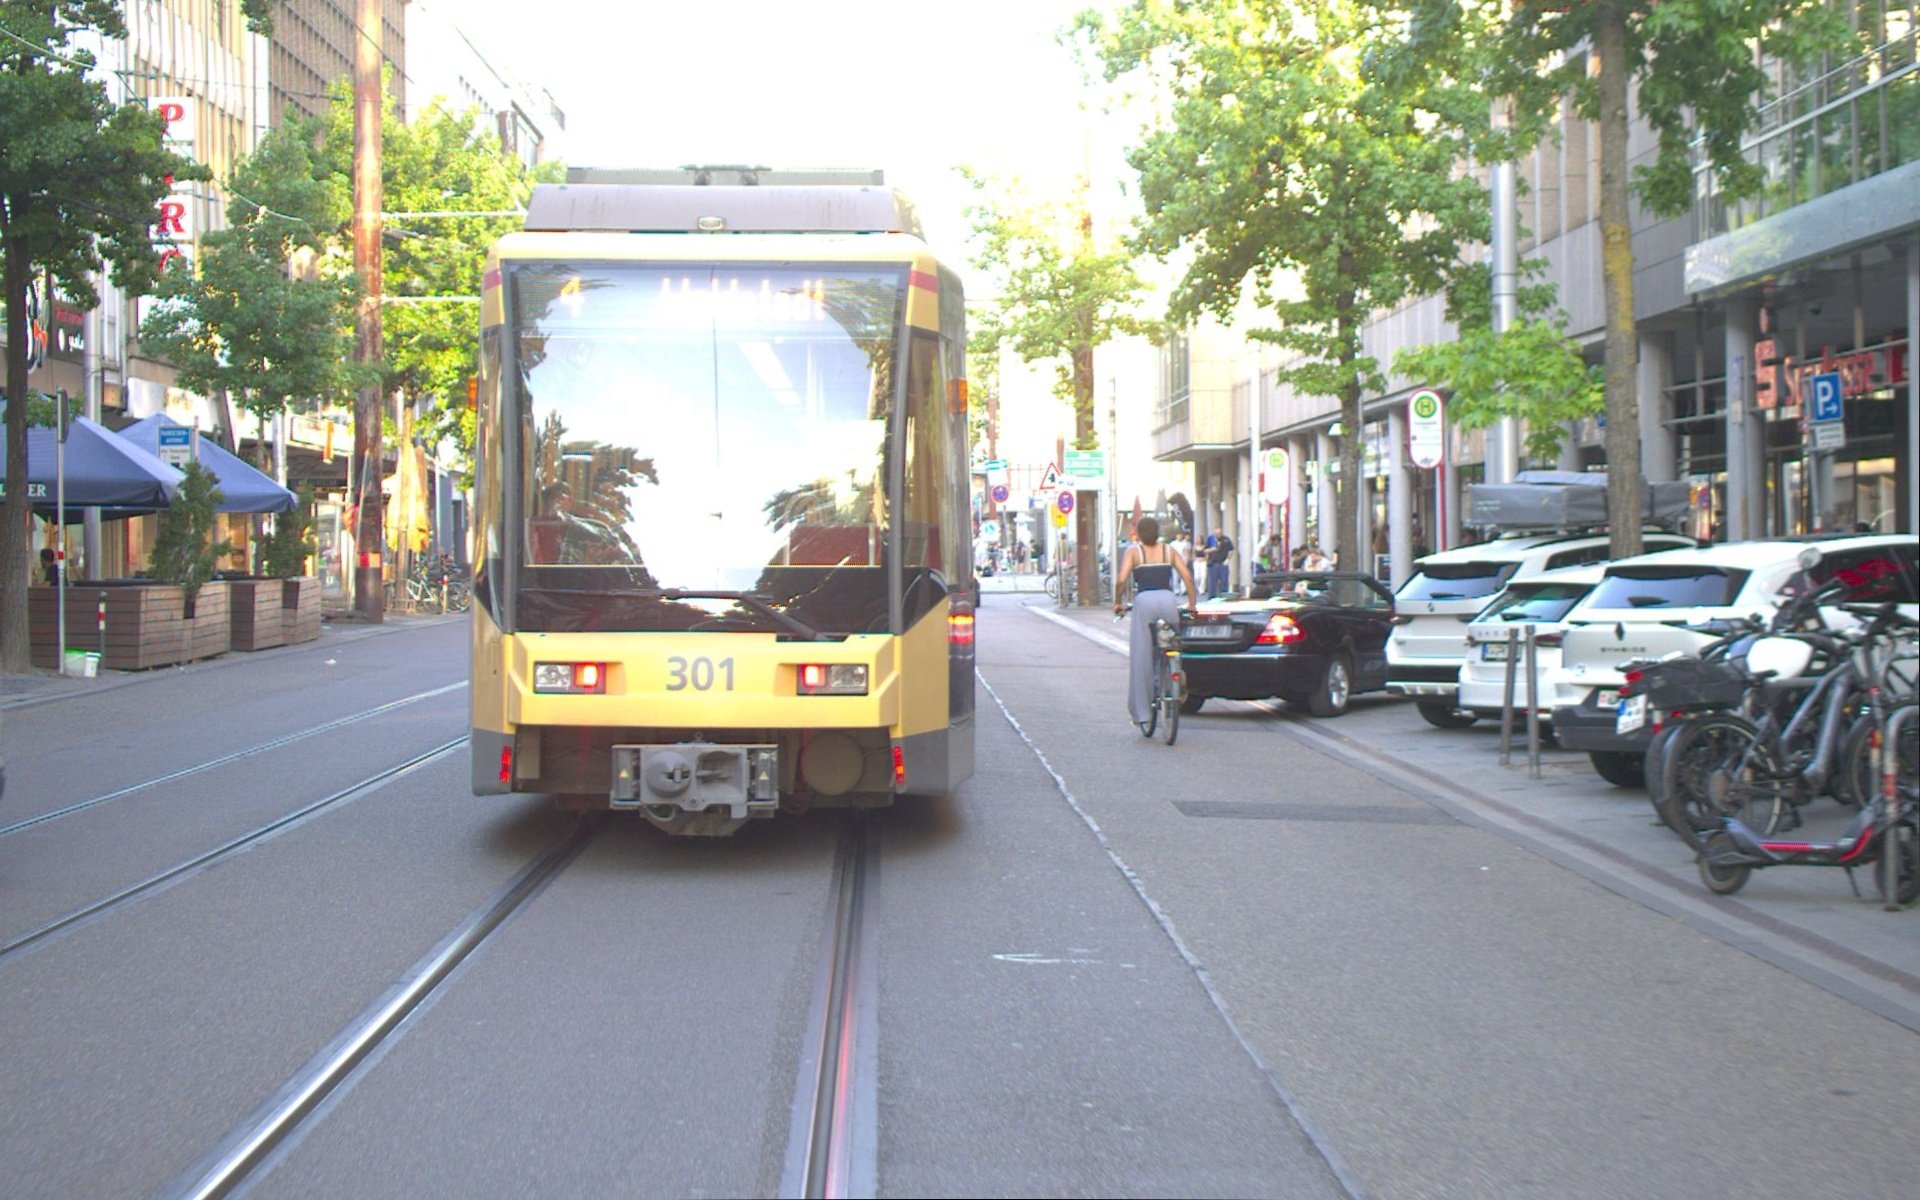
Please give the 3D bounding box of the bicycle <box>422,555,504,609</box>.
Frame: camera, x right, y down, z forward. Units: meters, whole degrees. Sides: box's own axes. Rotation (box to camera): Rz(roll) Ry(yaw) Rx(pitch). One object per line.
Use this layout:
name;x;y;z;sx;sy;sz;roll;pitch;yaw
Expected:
bicycle;-11.053;-0.392;76.479;1.733;1.122;0.613;3;0;-8

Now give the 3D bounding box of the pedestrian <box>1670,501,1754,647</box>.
pedestrian;9.621;-0.346;44.007;0.832;1.830;0.944;-1;2;-1

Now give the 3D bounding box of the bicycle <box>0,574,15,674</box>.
bicycle;-11.436;0.250;39.273;0.811;1.099;2.166;0;2;-27

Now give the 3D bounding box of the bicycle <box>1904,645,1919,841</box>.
bicycle;5.859;0.696;18.396;1.591;1.030;0.553;-6;3;-31

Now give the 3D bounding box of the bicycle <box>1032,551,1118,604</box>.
bicycle;3.239;-0.620;96.834;2.328;1.466;0.791;1;0;-5

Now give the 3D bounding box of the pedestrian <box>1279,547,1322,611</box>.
pedestrian;7.251;-0.458;73.235;0.806;1.323;0.626;-2;2;0

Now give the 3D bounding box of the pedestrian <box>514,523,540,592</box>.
pedestrian;-10.744;-1.056;85.316;0.551;1.681;0.576;2;0;-5

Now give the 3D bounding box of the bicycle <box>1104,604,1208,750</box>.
bicycle;1.532;0.586;27.194;0.656;1.057;2.057;1;1;-1

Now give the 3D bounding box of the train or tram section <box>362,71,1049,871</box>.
train or tram section;-1.305;-0.617;20.334;3.016;3.511;10.371;0;1;-2

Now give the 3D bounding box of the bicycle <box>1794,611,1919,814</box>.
bicycle;5.889;0.629;20.332;1.744;1.113;0.918;-2;1;-35

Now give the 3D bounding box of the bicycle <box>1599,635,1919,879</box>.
bicycle;4.191;0.771;17.519;1.744;1.113;0.807;-2;2;-33

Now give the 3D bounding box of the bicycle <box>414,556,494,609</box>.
bicycle;-11.619;-0.404;78.903;1.733;1.122;0.563;3;0;-5

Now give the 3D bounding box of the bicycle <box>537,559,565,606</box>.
bicycle;-10.102;-0.429;84.969;0.611;1.122;2.252;3;0;-7

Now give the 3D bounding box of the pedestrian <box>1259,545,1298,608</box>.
pedestrian;6.956;-0.522;75.037;0.739;1.323;0.720;-2;2;0

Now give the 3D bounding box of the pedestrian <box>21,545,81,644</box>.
pedestrian;-11.799;-0.072;44.639;0.559;1.252;0.606;3;0;-1

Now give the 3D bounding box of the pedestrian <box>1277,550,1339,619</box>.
pedestrian;7.025;-0.317;69.463;1.112;1.323;0.926;-2;1;0

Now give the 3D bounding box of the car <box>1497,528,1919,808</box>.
car;5.773;0.355;22.300;4.330;1.557;1.877;-3;1;-34

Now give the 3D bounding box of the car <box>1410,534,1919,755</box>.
car;5.839;0.303;26.954;4.170;1.453;1.864;-3;1;-24

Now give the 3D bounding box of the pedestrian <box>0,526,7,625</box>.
pedestrian;-12.447;-0.322;43.434;0.604;1.252;0.560;3;0;1

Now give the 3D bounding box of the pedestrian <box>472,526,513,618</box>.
pedestrian;-9.777;-0.586;71.883;0.750;1.873;0.576;2;0;-5

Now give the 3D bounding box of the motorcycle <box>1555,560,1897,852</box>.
motorcycle;4.307;0.550;19.215;0.795;1.466;2.200;0;3;45

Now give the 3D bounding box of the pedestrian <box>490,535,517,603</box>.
pedestrian;-11.417;-0.773;86.022;0.573;1.681;0.553;2;0;-11

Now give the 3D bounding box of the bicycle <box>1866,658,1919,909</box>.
bicycle;4.976;0.766;15.501;1.827;1.072;0.624;-4;3;-33

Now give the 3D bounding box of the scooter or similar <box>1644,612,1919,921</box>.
scooter or similar;3.891;0.723;15.626;0.695;1.300;1.393;-2;2;-40

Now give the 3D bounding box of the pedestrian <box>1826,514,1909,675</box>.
pedestrian;9.339;-0.068;35.376;0.596;1.610;0.755;-2;2;-2

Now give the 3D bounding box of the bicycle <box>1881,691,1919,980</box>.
bicycle;4.390;0.858;13.323;1.743;1.072;0.494;-3;2;-31

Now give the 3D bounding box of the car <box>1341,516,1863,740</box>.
car;5.556;0.200;29.620;4.194;1.632;1.921;-4;2;-33

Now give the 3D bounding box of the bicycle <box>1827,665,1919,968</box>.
bicycle;4.465;0.803;13.810;1.987;1.126;0.680;-3;2;-31

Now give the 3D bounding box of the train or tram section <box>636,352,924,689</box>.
train or tram section;-2.076;-0.903;41.339;3.003;3.511;10.846;0;1;-2

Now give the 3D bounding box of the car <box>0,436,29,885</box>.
car;-5.161;0.295;13.150;1.993;1.970;4.850;0;1;-1

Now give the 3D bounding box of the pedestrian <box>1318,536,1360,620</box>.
pedestrian;7.494;-0.437;68.070;0.701;1.632;0.646;-2;2;-1

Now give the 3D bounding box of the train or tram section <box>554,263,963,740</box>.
train or tram section;-1.683;-0.795;30.718;3.007;3.511;10.403;0;1;-2

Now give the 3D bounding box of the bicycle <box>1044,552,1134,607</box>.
bicycle;3.473;-0.545;92.746;2.328;1.466;0.791;1;0;-5

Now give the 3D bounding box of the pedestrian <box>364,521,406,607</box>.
pedestrian;-13.467;-0.845;80.533;0.849;2.007;0.921;1;0;-1

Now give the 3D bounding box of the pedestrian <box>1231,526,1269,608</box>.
pedestrian;6.308;-0.716;74.779;0.749;1.776;0.891;1;0;2

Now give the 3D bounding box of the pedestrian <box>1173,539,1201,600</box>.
pedestrian;6.412;-0.861;97.110;0.701;1.678;0.680;-2;2;-1

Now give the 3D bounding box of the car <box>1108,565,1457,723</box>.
car;3.184;0.366;33.096;1.804;1.344;4.439;0;1;27

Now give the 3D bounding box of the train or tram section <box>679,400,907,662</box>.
train or tram section;-2.465;-1.006;52.033;3.044;3.511;10.532;1;1;-2

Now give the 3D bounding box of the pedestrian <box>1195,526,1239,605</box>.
pedestrian;5.822;-0.776;77.976;0.888;1.776;0.752;1;0;-3

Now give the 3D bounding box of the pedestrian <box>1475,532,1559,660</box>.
pedestrian;7.035;-0.055;43.441;0.877;1.576;0.755;1;2;-2

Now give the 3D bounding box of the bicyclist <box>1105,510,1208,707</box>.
bicyclist;1.554;0.066;27.289;0.726;1.521;0.733;2;0;-1

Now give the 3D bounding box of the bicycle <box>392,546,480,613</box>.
bicycle;-11.393;-0.447;74.722;1.796;1.355;0.660;3;0;-13

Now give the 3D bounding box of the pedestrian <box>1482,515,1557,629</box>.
pedestrian;9.420;-0.478;57.884;1.053;1.870;0.929;-2;2;-1
